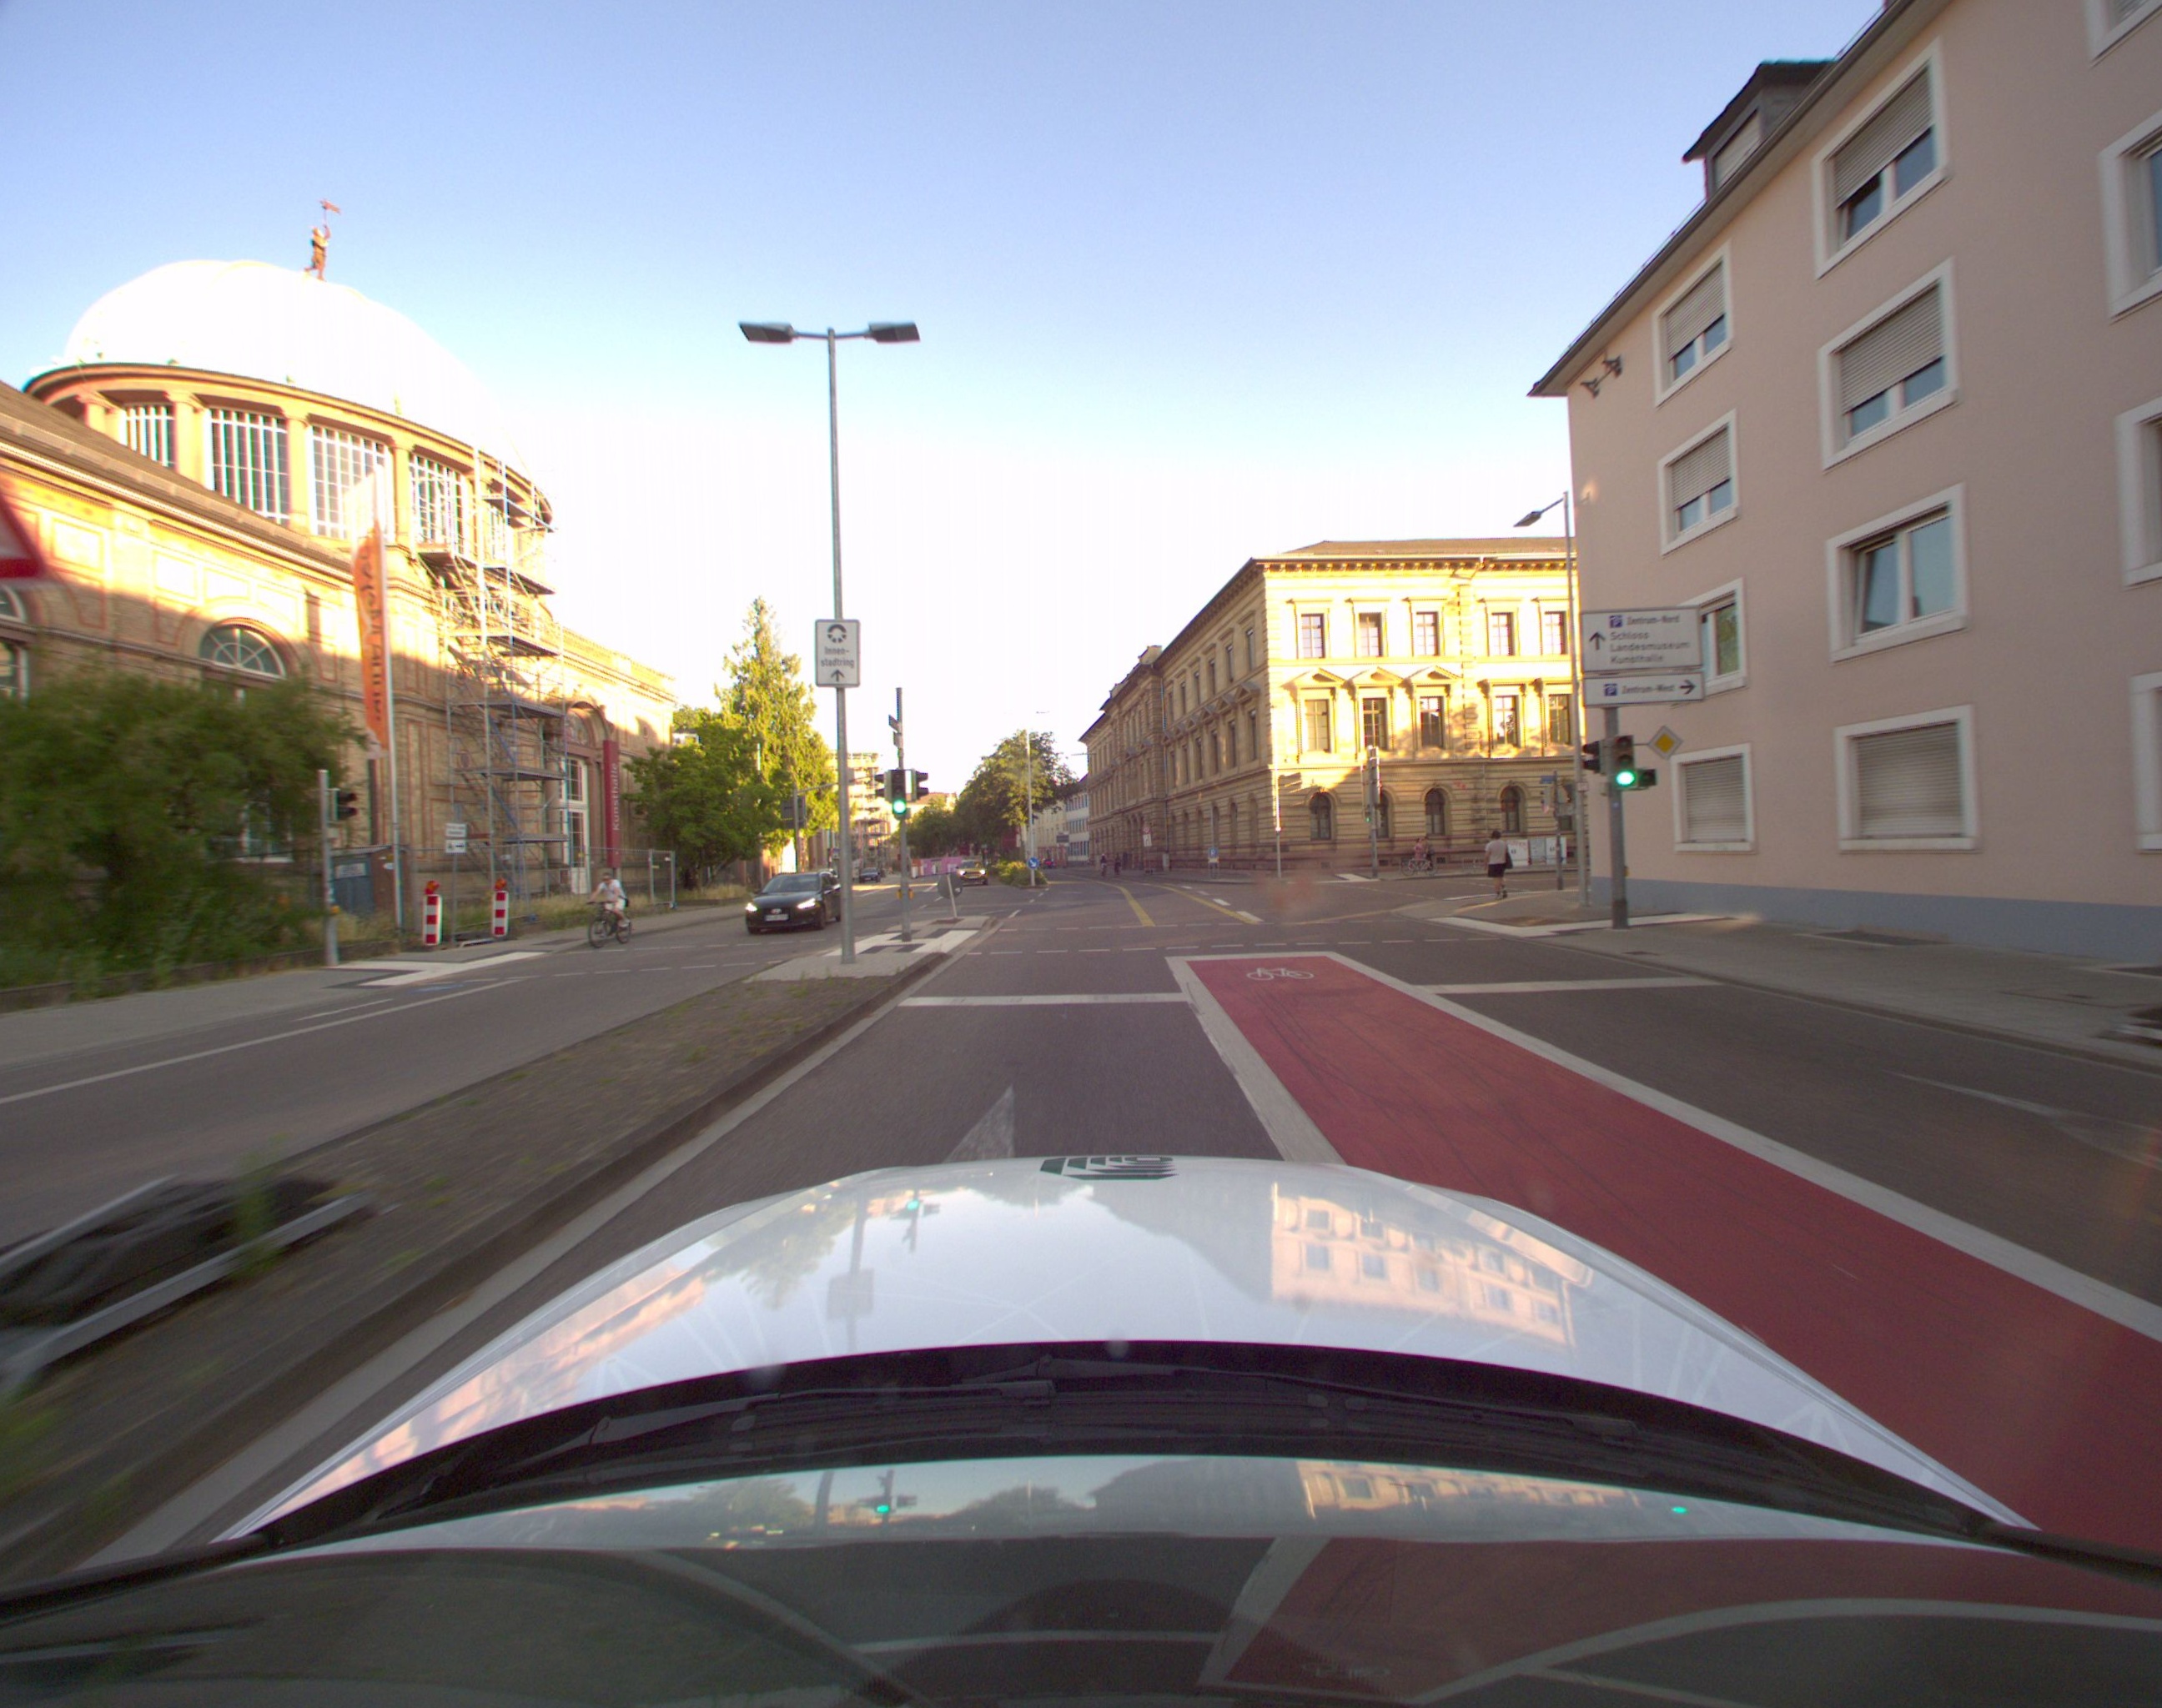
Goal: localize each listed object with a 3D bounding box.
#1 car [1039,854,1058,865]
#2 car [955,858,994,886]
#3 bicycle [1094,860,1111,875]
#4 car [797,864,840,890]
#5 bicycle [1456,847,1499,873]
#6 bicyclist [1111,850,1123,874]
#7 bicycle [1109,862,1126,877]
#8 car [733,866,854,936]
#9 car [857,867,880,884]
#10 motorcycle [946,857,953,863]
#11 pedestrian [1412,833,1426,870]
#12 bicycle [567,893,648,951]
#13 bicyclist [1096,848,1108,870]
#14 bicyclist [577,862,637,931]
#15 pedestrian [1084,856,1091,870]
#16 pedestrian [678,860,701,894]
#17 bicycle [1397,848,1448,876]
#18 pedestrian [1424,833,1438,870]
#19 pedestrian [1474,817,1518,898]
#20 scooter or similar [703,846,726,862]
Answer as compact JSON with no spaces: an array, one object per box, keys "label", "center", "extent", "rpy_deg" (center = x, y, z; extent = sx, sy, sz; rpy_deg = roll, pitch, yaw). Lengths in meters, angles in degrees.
[{"label":"car","center":[-5.013,0.871,124.736],"extent":[1.817,1.682,3.895],"rpy_deg":[-2,-1,-18]},{"label":"car","center":[-6.422,1.065,49.449],"extent":[1.840,1.547,4.115],"rpy_deg":[-3,0,-2]},{"label":"bicycle","center":[1.527,0.992,58.600],"extent":[0.671,1.071,1.891],"rpy_deg":[0,-1,-15]},{"label":"car","center":[-16.372,1.466,50.988],"extent":[1.743,1.547,4.358],"rpy_deg":[-1,-2,-7]},{"label":"bicycle","center":[19.039,0.300,39.092],"extent":[1.718,1.144,0.696],"rpy_deg":[-2,2,-1]},{"label":"bicyclist","center":[2.639,0.580,59.482],"extent":[0.650,1.760,0.861],"rpy_deg":[0,-1,-12]},{"label":"bicycle","center":[2.639,1.115,59.427],"extent":[0.653,1.071,2.248],"rpy_deg":[0,-1,-12]},{"label":"car","center":[-7.335,1.122,21.276],"extent":[1.820,1.508,4.420],"rpy_deg":[-2,0,-4]},{"label":"car","center":[-19.249,1.902,73.911],"extent":[1.680,1.351,3.873],"rpy_deg":[-4,0,-10]},{"label":"motorcycle","center":[-30.207,1.412,186.715],"extent":[1.046,1.248,2.379],"rpy_deg":[-2,-1,-24]},{"label":"pedestrian","center":[17.316,-0.116,41.747],"extent":[0.452,1.858,0.422],"rpy_deg":[-2,-1,-41]},{"label":"bicycle","center":[-10.604,1.489,18.324],"extent":[0.752,1.090,1.929],"rpy_deg":[-4,0,-5]},{"label":"bicyclist","center":[1.529,0.339,58.578],"extent":[0.670,1.566,0.695],"rpy_deg":[0,-1,-15]},{"label":"bicyclist","center":[-10.649,0.925,18.326],"extent":[0.746,1.460,0.935],"rpy_deg":[-4,0,-5]},{"label":"pedestrian","center":[0.788,1.197,105.695],"extent":[0.815,1.765,1.036],"rpy_deg":[-1,0,-4]},{"label":"pedestrian","center":[-18.867,1.085,39.259],"extent":[0.734,1.579,0.761],"rpy_deg":[-2,0,-5]},{"label":"bicycle","center":[16.252,0.365,38.790],"extent":[2.044,1.207,0.862],"rpy_deg":[-2,2,-1]},{"label":"pedestrian","center":[17.816,-0.143,41.452],"extent":[0.529,1.858,0.626],"rpy_deg":[-3,-1,26]},{"label":"pedestrian","center":[10.654,0.095,20.944],"extent":[0.779,2.013,0.998],"rpy_deg":[-2,0,16]},{"label":"scooter or similar","center":[-17.577,0.004,39.074],"extent":[0.677,0.777,1.026],"rpy_deg":[-2,0,-6]}]
